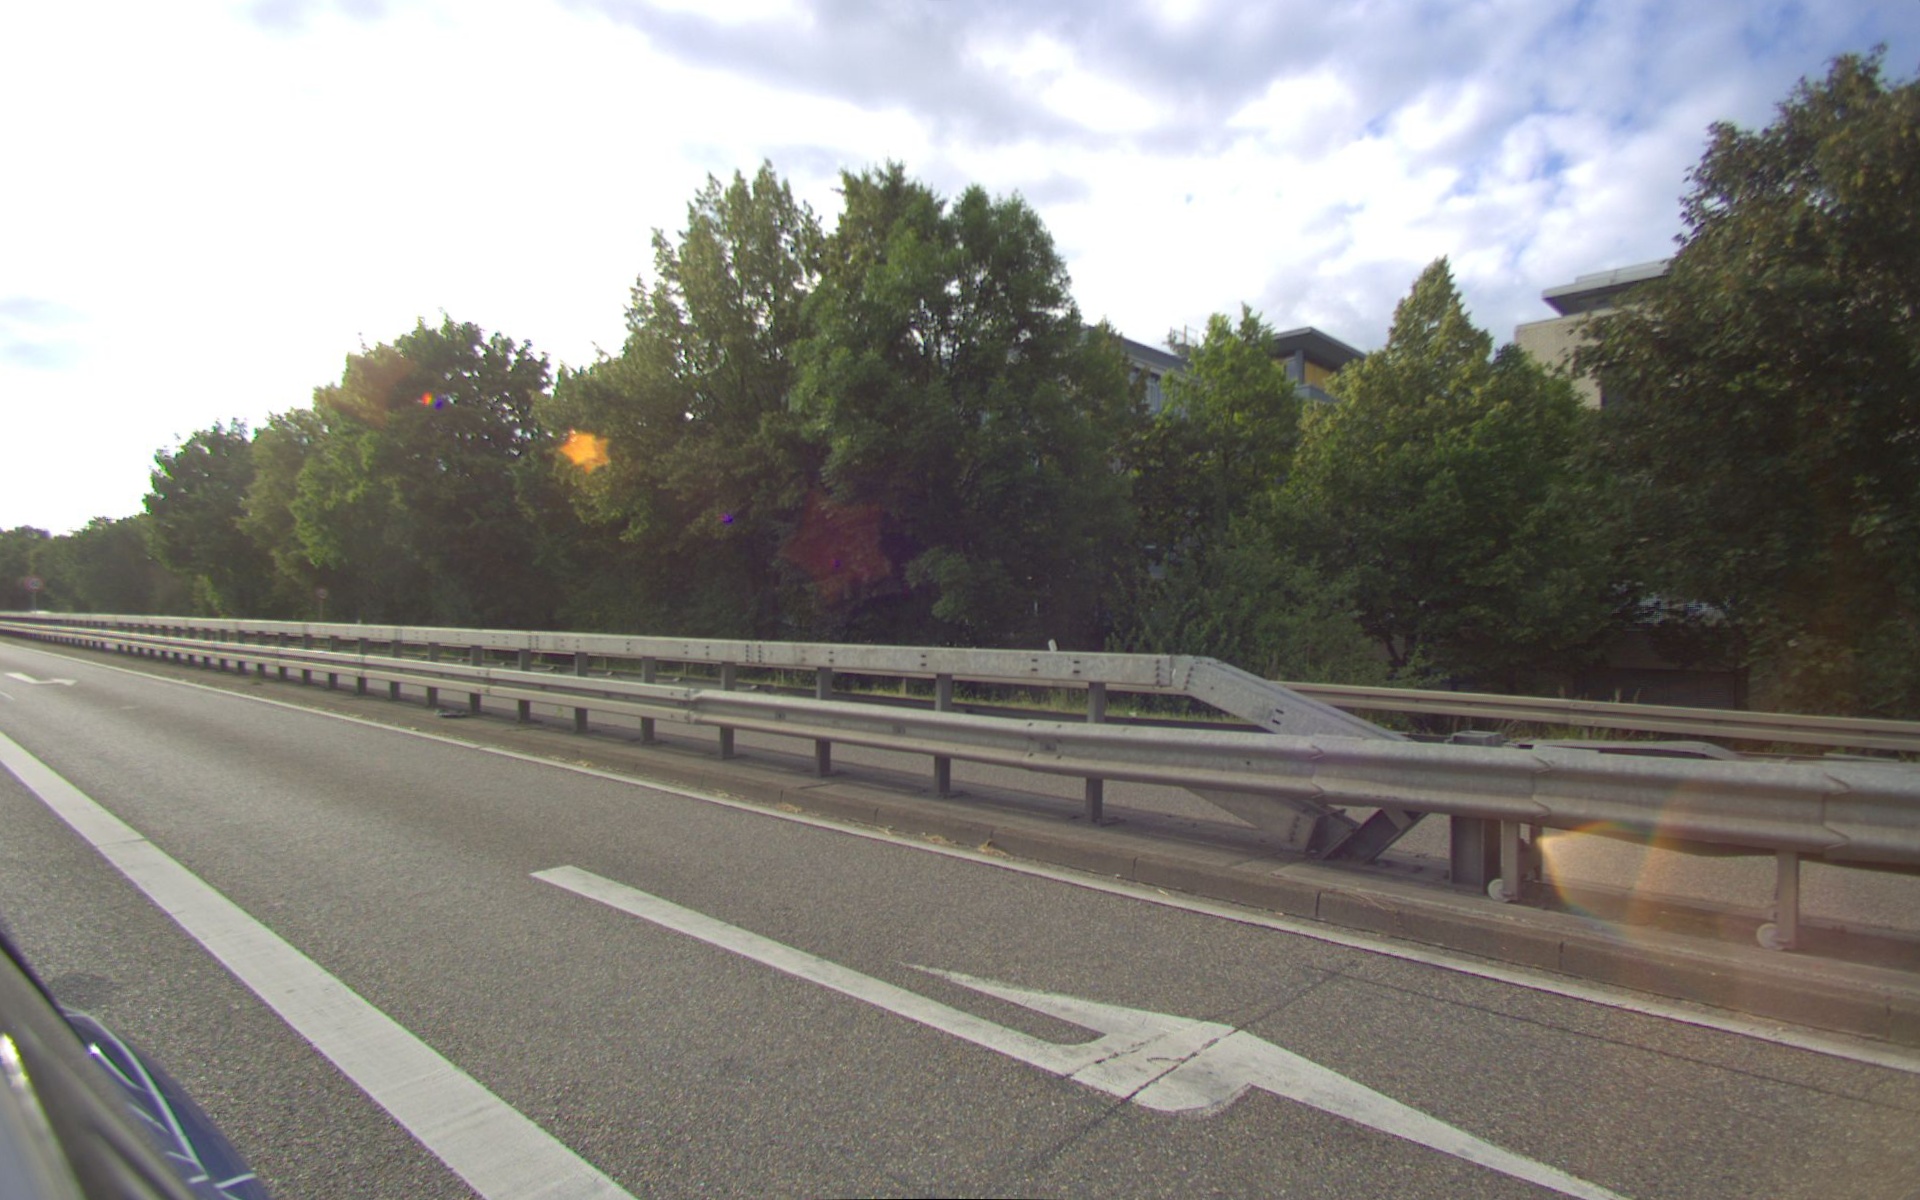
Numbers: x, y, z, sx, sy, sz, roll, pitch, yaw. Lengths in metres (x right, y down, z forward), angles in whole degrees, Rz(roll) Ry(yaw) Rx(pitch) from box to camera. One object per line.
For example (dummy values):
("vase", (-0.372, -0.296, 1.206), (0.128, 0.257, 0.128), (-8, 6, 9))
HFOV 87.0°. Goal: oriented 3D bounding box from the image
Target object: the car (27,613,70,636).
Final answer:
("car", (-70.038, 1.839, 77.721), (3.997, 1.674, 1.924), (0, -1, 40))
